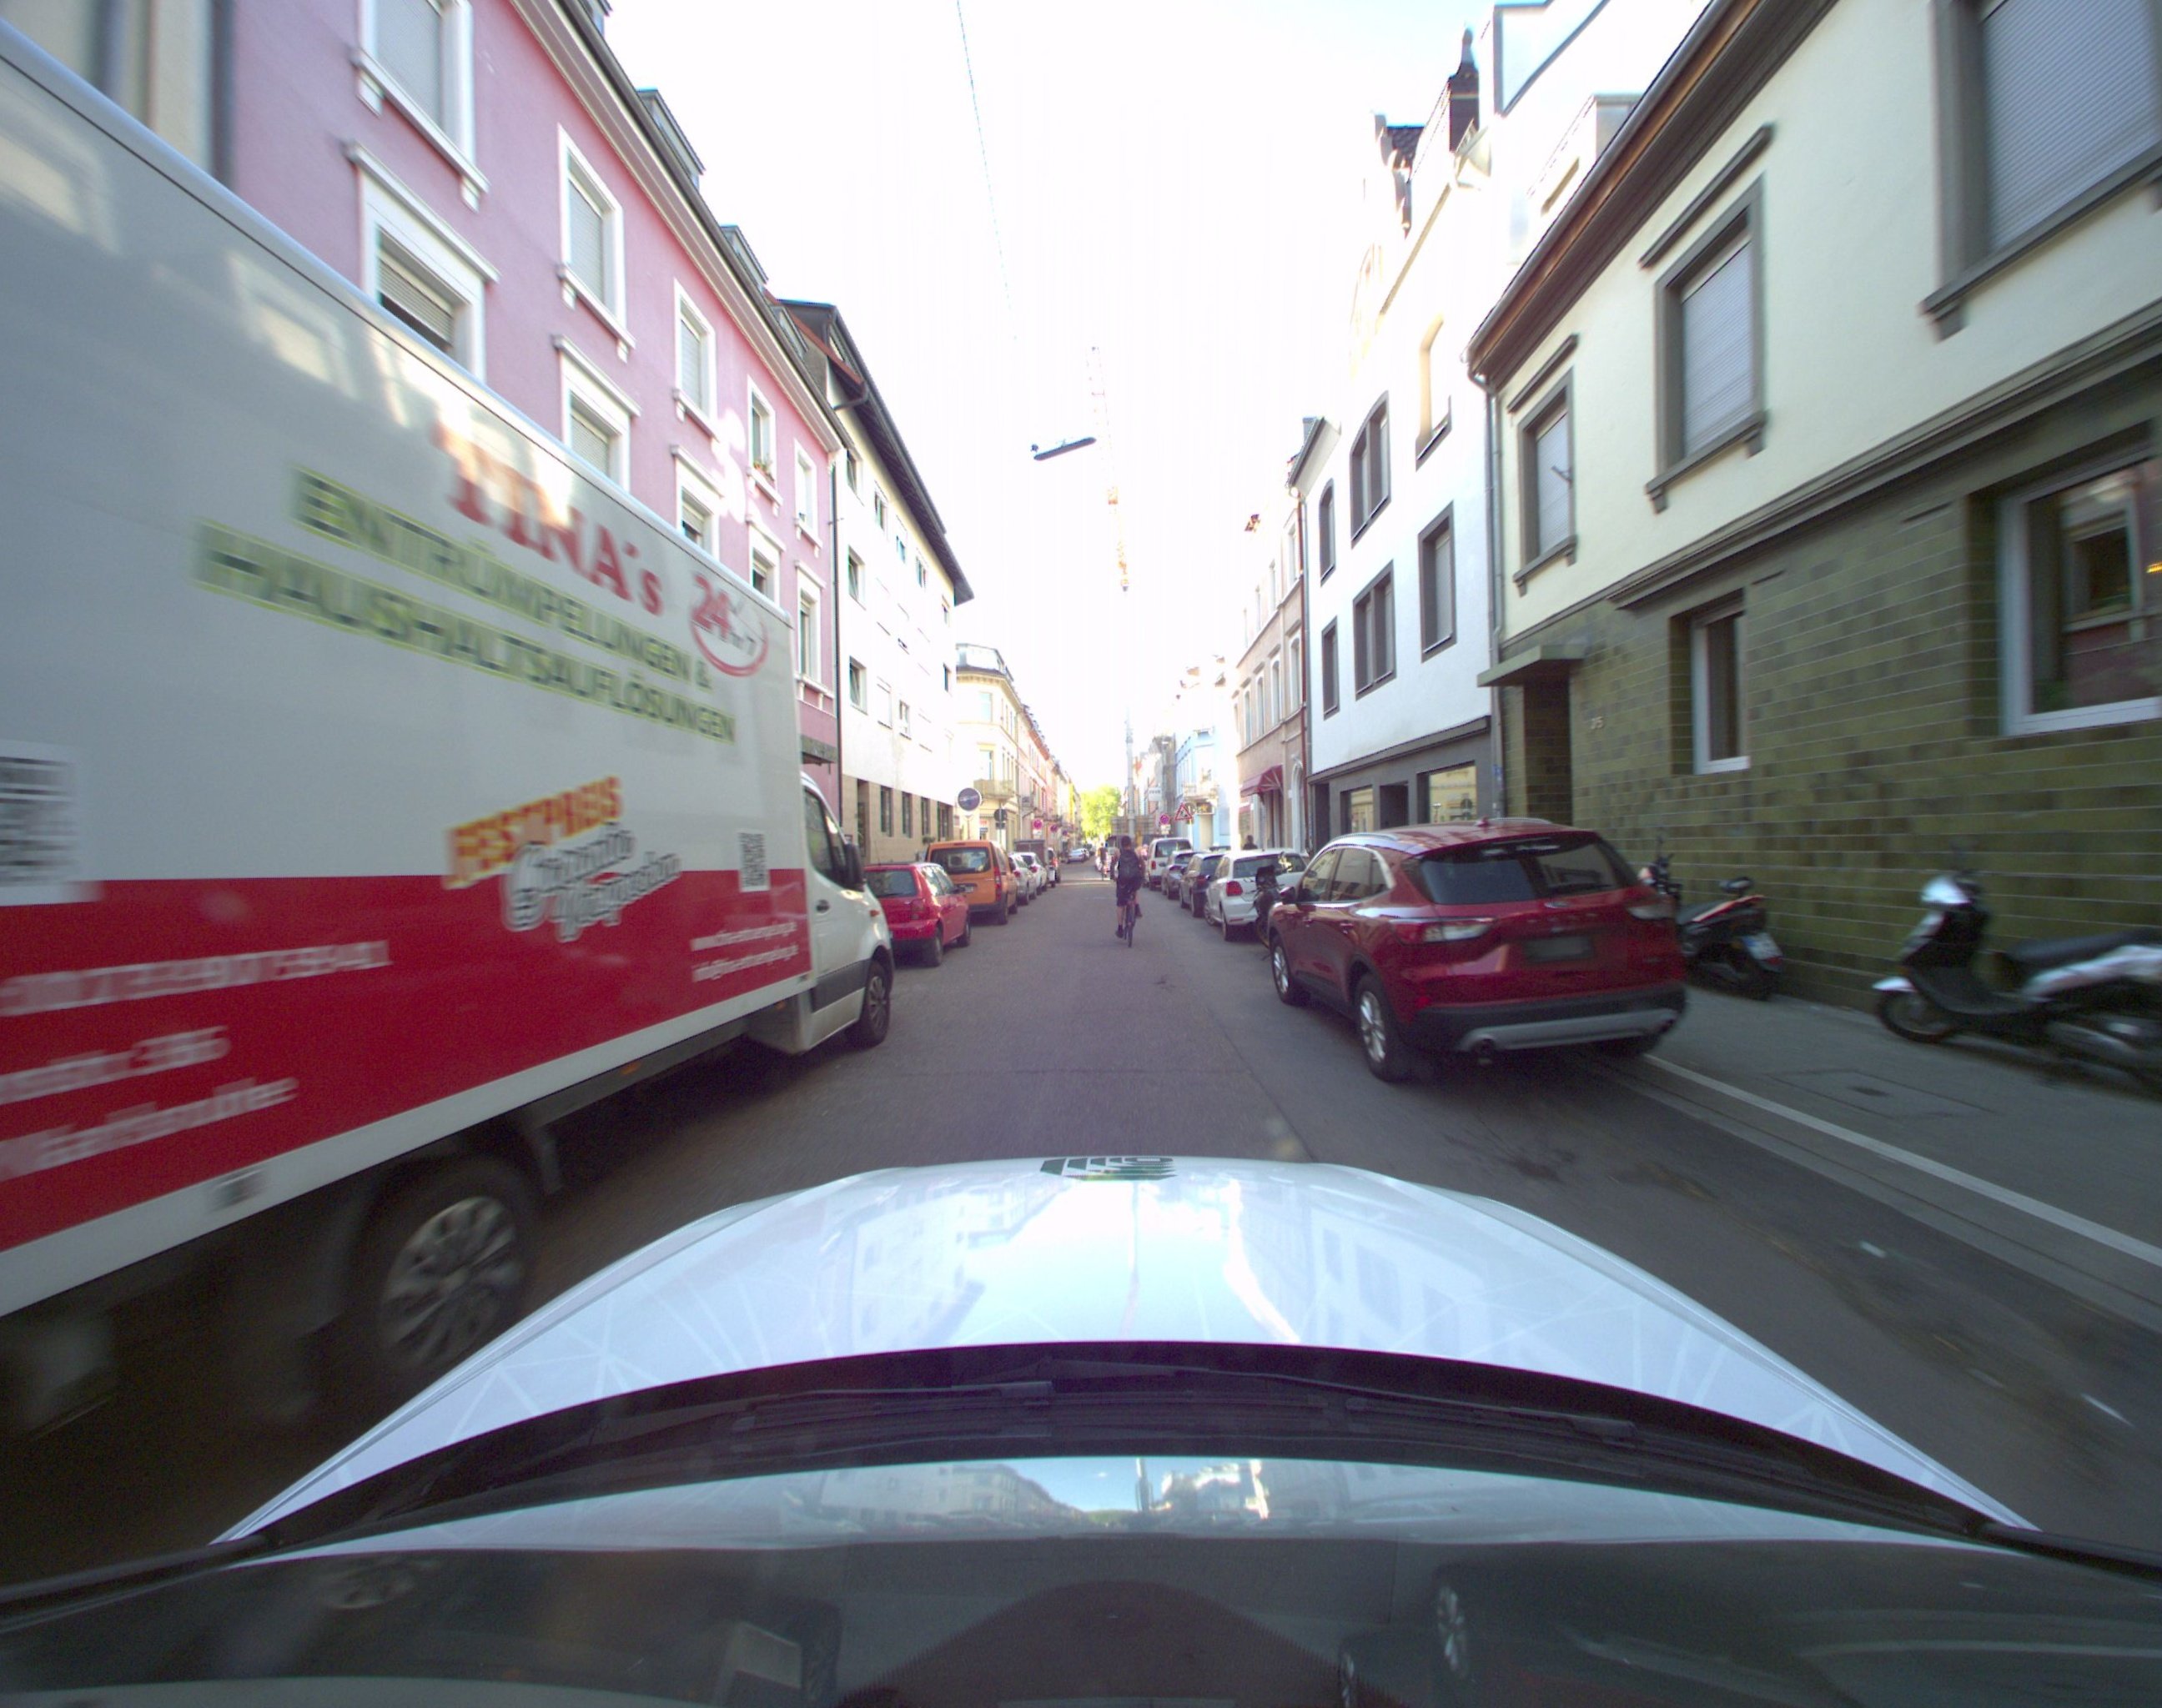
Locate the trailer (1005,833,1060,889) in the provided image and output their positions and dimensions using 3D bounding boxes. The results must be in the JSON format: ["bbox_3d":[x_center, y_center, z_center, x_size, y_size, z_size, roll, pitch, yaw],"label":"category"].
[{"bbox_3d":[-1.930,0.278,33.718,1.875,2.092,3.738,-3,0,1],"label":"trailer"}]

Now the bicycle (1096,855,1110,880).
[{"bbox_3d":[1.018,0.605,37.737,0.646,1.129,2.136,-1,0,1],"label":"bicycle"}]

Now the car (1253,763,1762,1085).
[{"bbox_3d":[2.799,0.368,6.650,1.911,1.706,4.367,-2,0,1],"label":"car"}]

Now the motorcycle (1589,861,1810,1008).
[{"bbox_3d":[5.387,0.630,7.260,0.499,1.095,1.879,-4,0,1],"label":"motorcycle"}]

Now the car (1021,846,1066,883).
[{"bbox_3d":[-1.707,0.466,38.031,1.744,1.573,3.797,-3,0,1],"label":"car"}]

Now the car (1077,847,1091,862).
[{"bbox_3d":[0.413,0.014,104.675,1.744,1.821,3.797,-3,0,1],"label":"car"}]

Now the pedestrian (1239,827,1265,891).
[{"bbox_3d":[5.446,0.164,25.979,0.642,2.013,0.764,-1,0,1],"label":"pedestrian"}]

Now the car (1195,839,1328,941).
[{"bbox_3d":[3.164,0.574,14.991,1.660,1.505,3.818,-5,0,2],"label":"car"}]

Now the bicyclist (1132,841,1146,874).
[{"bbox_3d":[3.034,0.177,42.454,0.679,1.706,0.381,-1,0,-2],"label":"bicyclist"}]

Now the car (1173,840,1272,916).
[{"bbox_3d":[3.264,0.519,19.489,1.640,1.475,3.972,-6,0,1],"label":"car"}]

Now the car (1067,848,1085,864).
[{"bbox_3d":[-0.494,0.213,86.919,1.744,1.683,3.797,-3,0,1],"label":"car"}]

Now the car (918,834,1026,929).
[{"bbox_3d":[-2.355,0.562,18.540,1.746,1.816,4.078,-4,0,1],"label":"car"}]

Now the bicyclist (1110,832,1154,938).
[{"bbox_3d":[0.828,0.495,13.539,0.665,1.676,1.097,-1,0,1],"label":"bicyclist"}]

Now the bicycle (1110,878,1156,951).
[{"bbox_3d":[0.833,0.960,13.520,0.674,1.074,1.942,-1,0,1],"label":"bicycle"}]

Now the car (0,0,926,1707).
[{"bbox_3d":[-2.851,-0.019,4.078,2.334,3.291,7.158,-4,0,2],"label":"car"}]

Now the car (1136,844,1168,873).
[{"bbox_3d":[4.115,0.255,47.742,1.605,1.633,3.611,-1,0,1],"label":"car"}]

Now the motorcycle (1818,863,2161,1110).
[{"bbox_3d":[5.309,0.628,4.644,0.556,1.095,1.776,-4,0,1],"label":"motorcycle"}]

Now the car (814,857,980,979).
[{"bbox_3d":[-2.665,0.859,12.570,1.573,1.483,3.566,-5,0,1],"label":"car"}]

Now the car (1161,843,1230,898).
[{"bbox_3d":[3.492,0.478,25.361,1.743,1.486,3.802,-3,0,3],"label":"car"}]

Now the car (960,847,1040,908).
[{"bbox_3d":[-2.289,0.634,24.013,1.744,1.537,4.320,-3,0,1],"label":"car"}]

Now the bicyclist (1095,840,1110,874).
[{"bbox_3d":[1.007,0.130,37.782,0.668,1.567,0.716,-1,0,1],"label":"bicyclist"}]

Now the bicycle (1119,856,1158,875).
[{"bbox_3d":[2.993,0.617,42.512,1.990,0.958,0.478,-1,0,-2],"label":"bicycle"}]

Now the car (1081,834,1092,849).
[{"bbox_3d":[0.939,-2.003,133.379,1.744,2.317,3.797,-3,0,1],"label":"car"}]

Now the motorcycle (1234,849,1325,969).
[{"bbox_3d":[2.707,0.685,11.378,0.744,1.490,2.422,-1,0,2],"label":"motorcycle"}]

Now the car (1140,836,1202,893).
[{"bbox_3d":[3.298,0.371,30.428,1.745,1.878,3.971,-3,0,-1],"label":"car"}]

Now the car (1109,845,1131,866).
[{"bbox_3d":[3.051,0.124,63.874,1.605,1.560,3.611,-1,0,1],"label":"car"}]

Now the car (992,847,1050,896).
[{"bbox_3d":[-2.088,0.590,29.045,1.647,1.537,3.635,-3,0,1],"label":"car"}]
